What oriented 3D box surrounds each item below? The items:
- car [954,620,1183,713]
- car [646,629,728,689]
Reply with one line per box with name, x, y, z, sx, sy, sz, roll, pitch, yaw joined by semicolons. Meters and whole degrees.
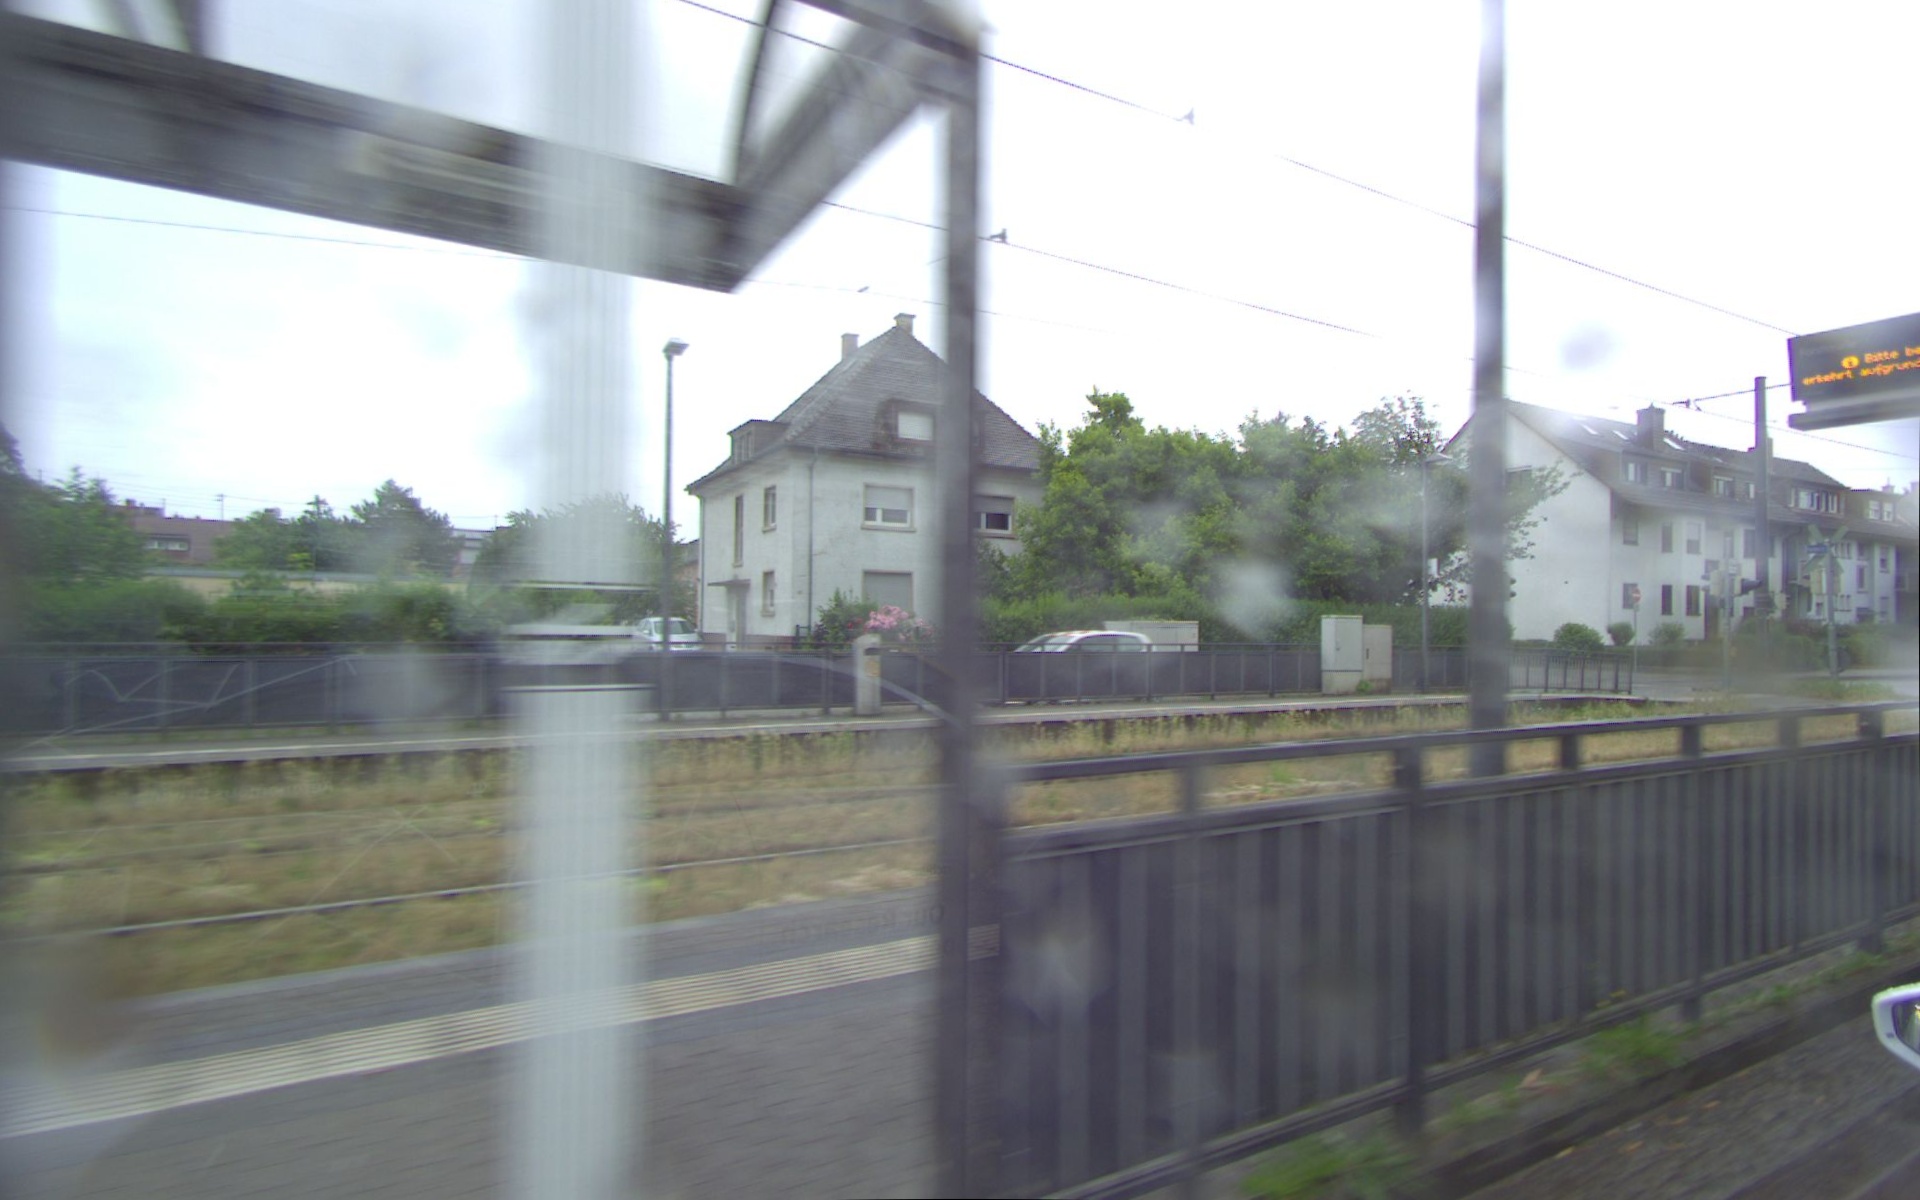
car;2.015;1.184;18.365;3.952;1.513;1.626;2;-1;-29
car;-9.519;2.006;34.803;1.974;1.840;3.973;2;-1;-26
